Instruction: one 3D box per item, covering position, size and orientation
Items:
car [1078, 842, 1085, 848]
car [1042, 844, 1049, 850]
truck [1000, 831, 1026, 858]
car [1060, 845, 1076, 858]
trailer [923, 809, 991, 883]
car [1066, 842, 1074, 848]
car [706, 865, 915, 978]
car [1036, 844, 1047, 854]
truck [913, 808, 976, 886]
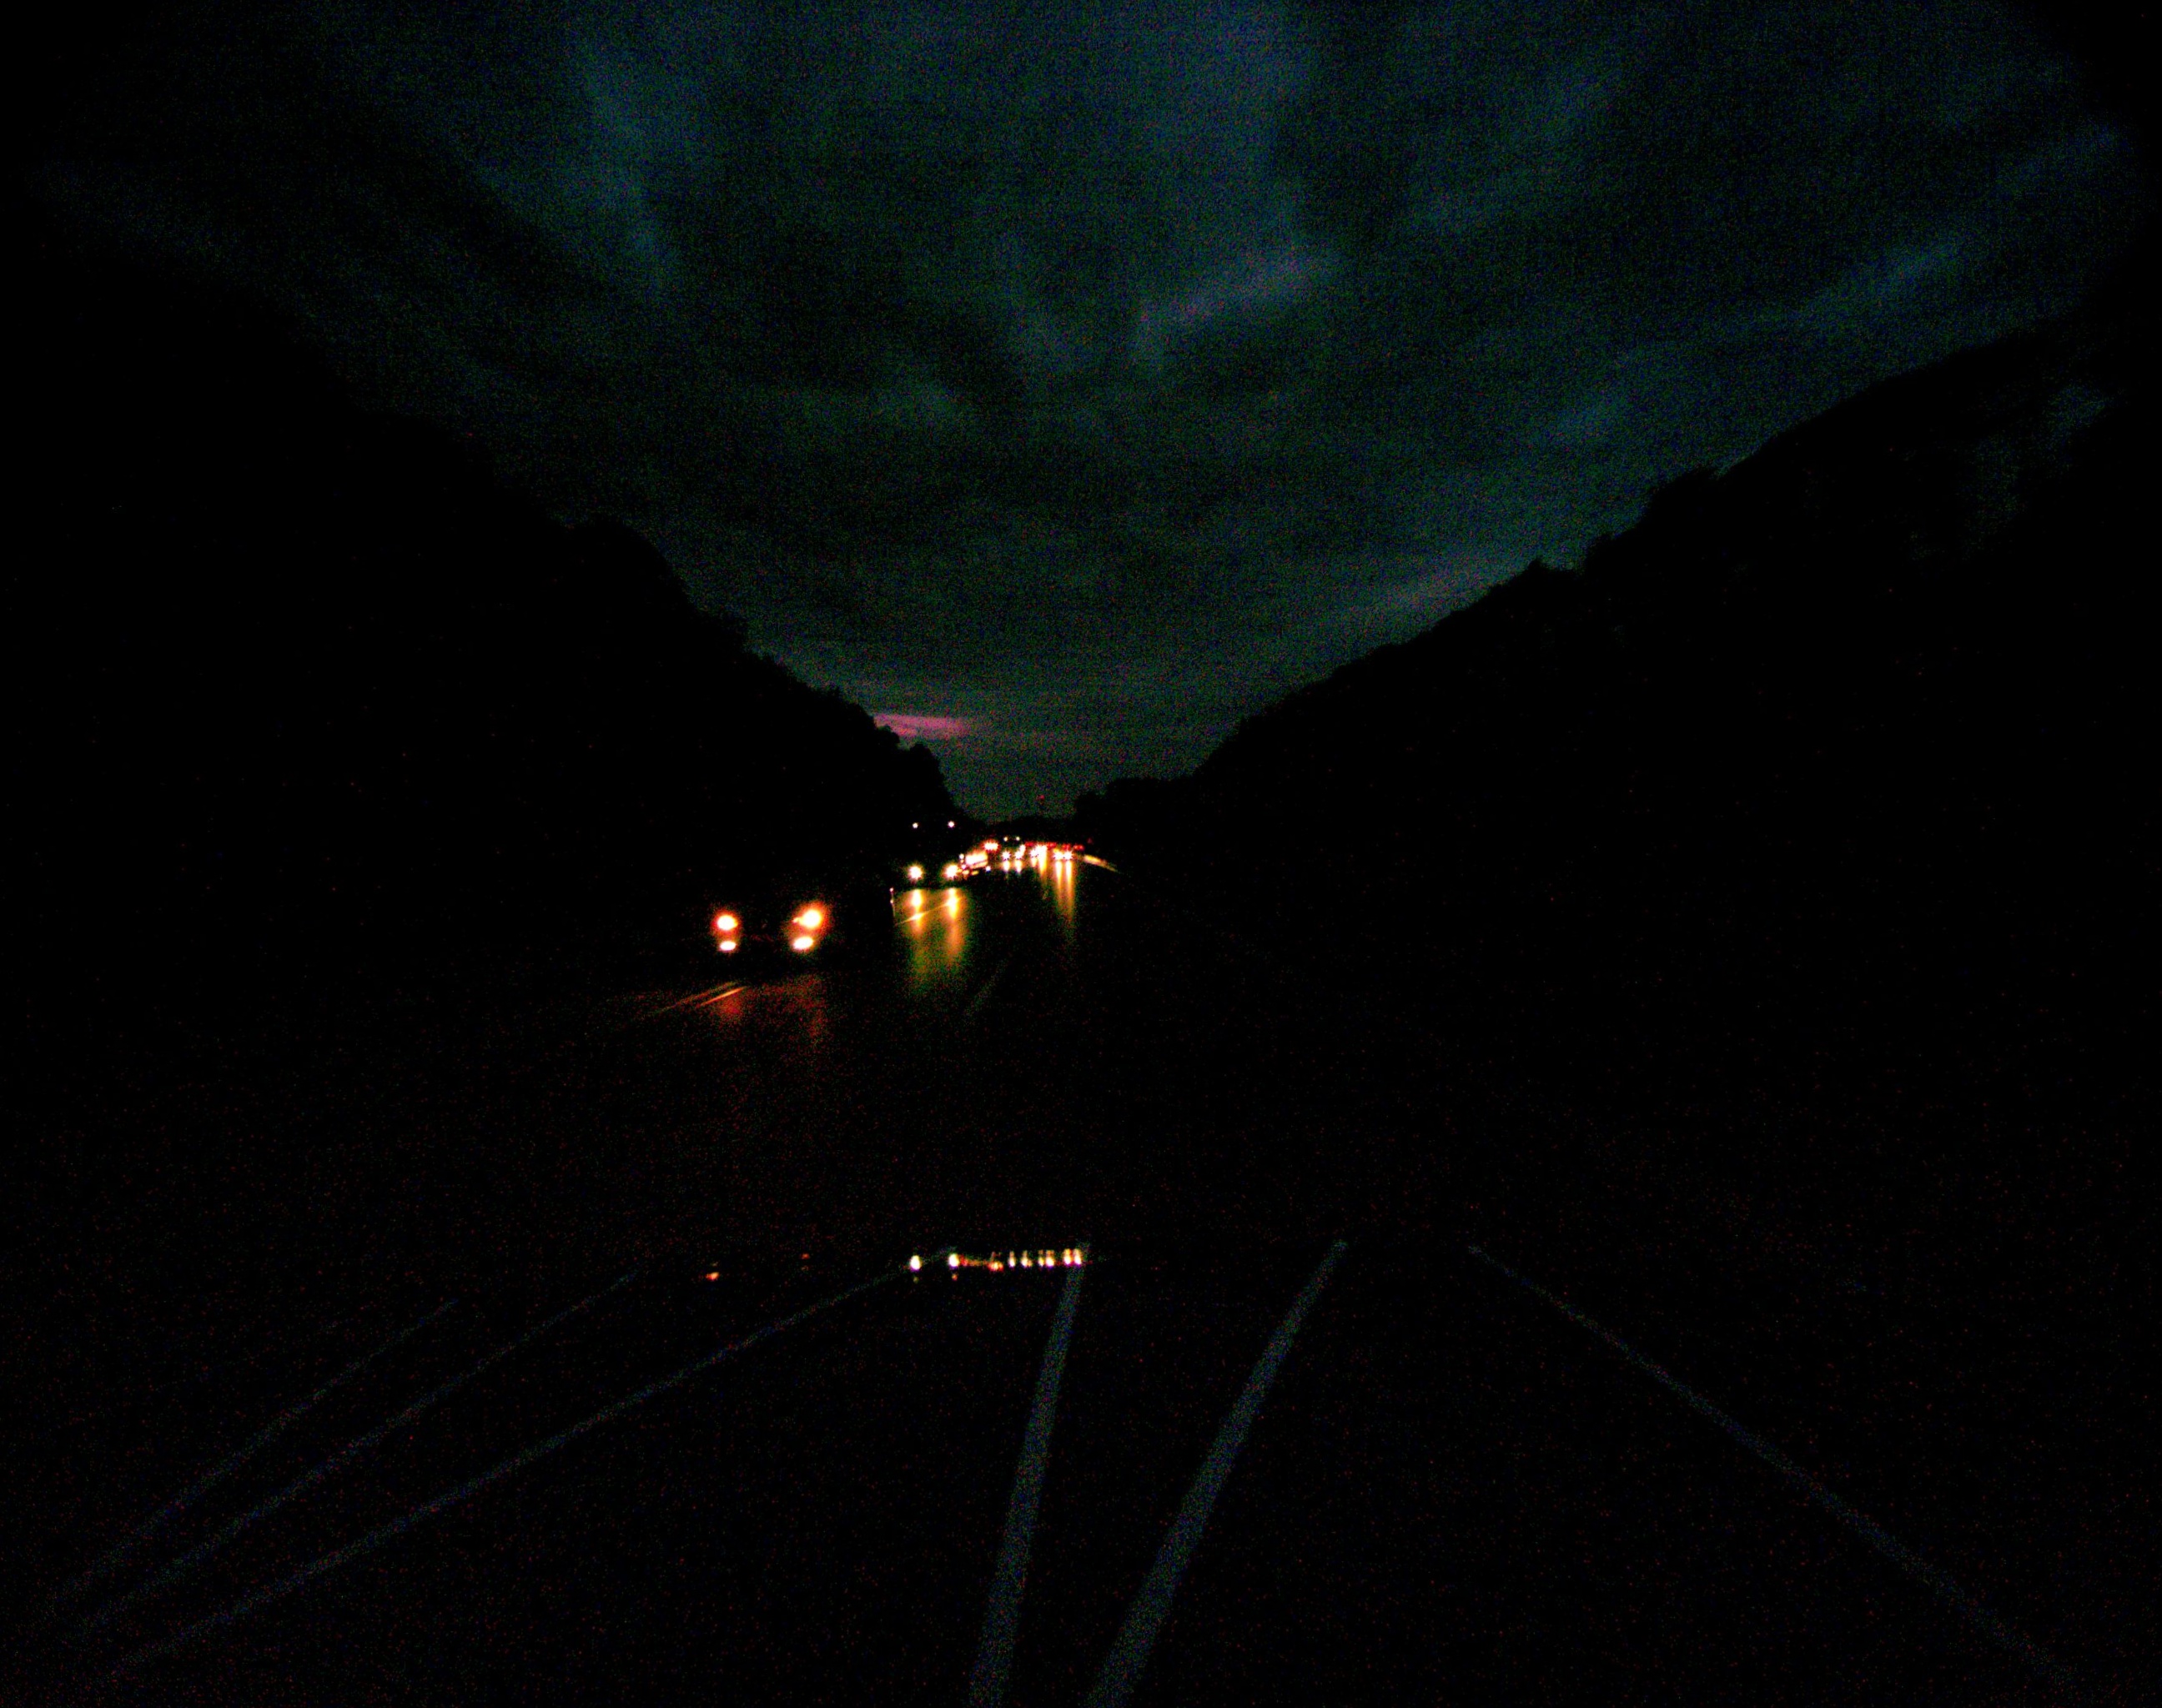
[{"bbox_3d":[0.100,-2.519,212.419,1.602,1.480,4.228,-3,1,-5],"label":"car"},{"bbox_3d":[-9.732,-1.907,206.386,1.696,1.481,4.946,-1,1,-4],"label":"car"},{"bbox_3d":[-10.942,-1.628,123.700,3.342,3.945,13.530,-2,1,-3],"label":"truck"},{"bbox_3d":[-1.809,-0.302,106.969,1.870,1.701,4.584,-2,0,1],"label":"car"},{"bbox_3d":[-7.697,-0.584,49.217,2.489,4.050,13.499,-2,1,-2],"label":"trailer"},{"bbox_3d":[-3.693,-2.874,247.269,1.924,1.706,5.281,-3,1,-7],"label":"car"},{"bbox_3d":[-4.442,1.015,13.413,1.695,1.481,4.949,-2,0,2],"label":"car"},{"bbox_3d":[-7.301,-0.960,140.062,1.924,1.706,4.940,-2,1,-4],"label":"car"},{"bbox_3d":[-7.471,-0.425,42.247,2.498,3.945,5.588,-2,2,-2],"label":"truck"}]
